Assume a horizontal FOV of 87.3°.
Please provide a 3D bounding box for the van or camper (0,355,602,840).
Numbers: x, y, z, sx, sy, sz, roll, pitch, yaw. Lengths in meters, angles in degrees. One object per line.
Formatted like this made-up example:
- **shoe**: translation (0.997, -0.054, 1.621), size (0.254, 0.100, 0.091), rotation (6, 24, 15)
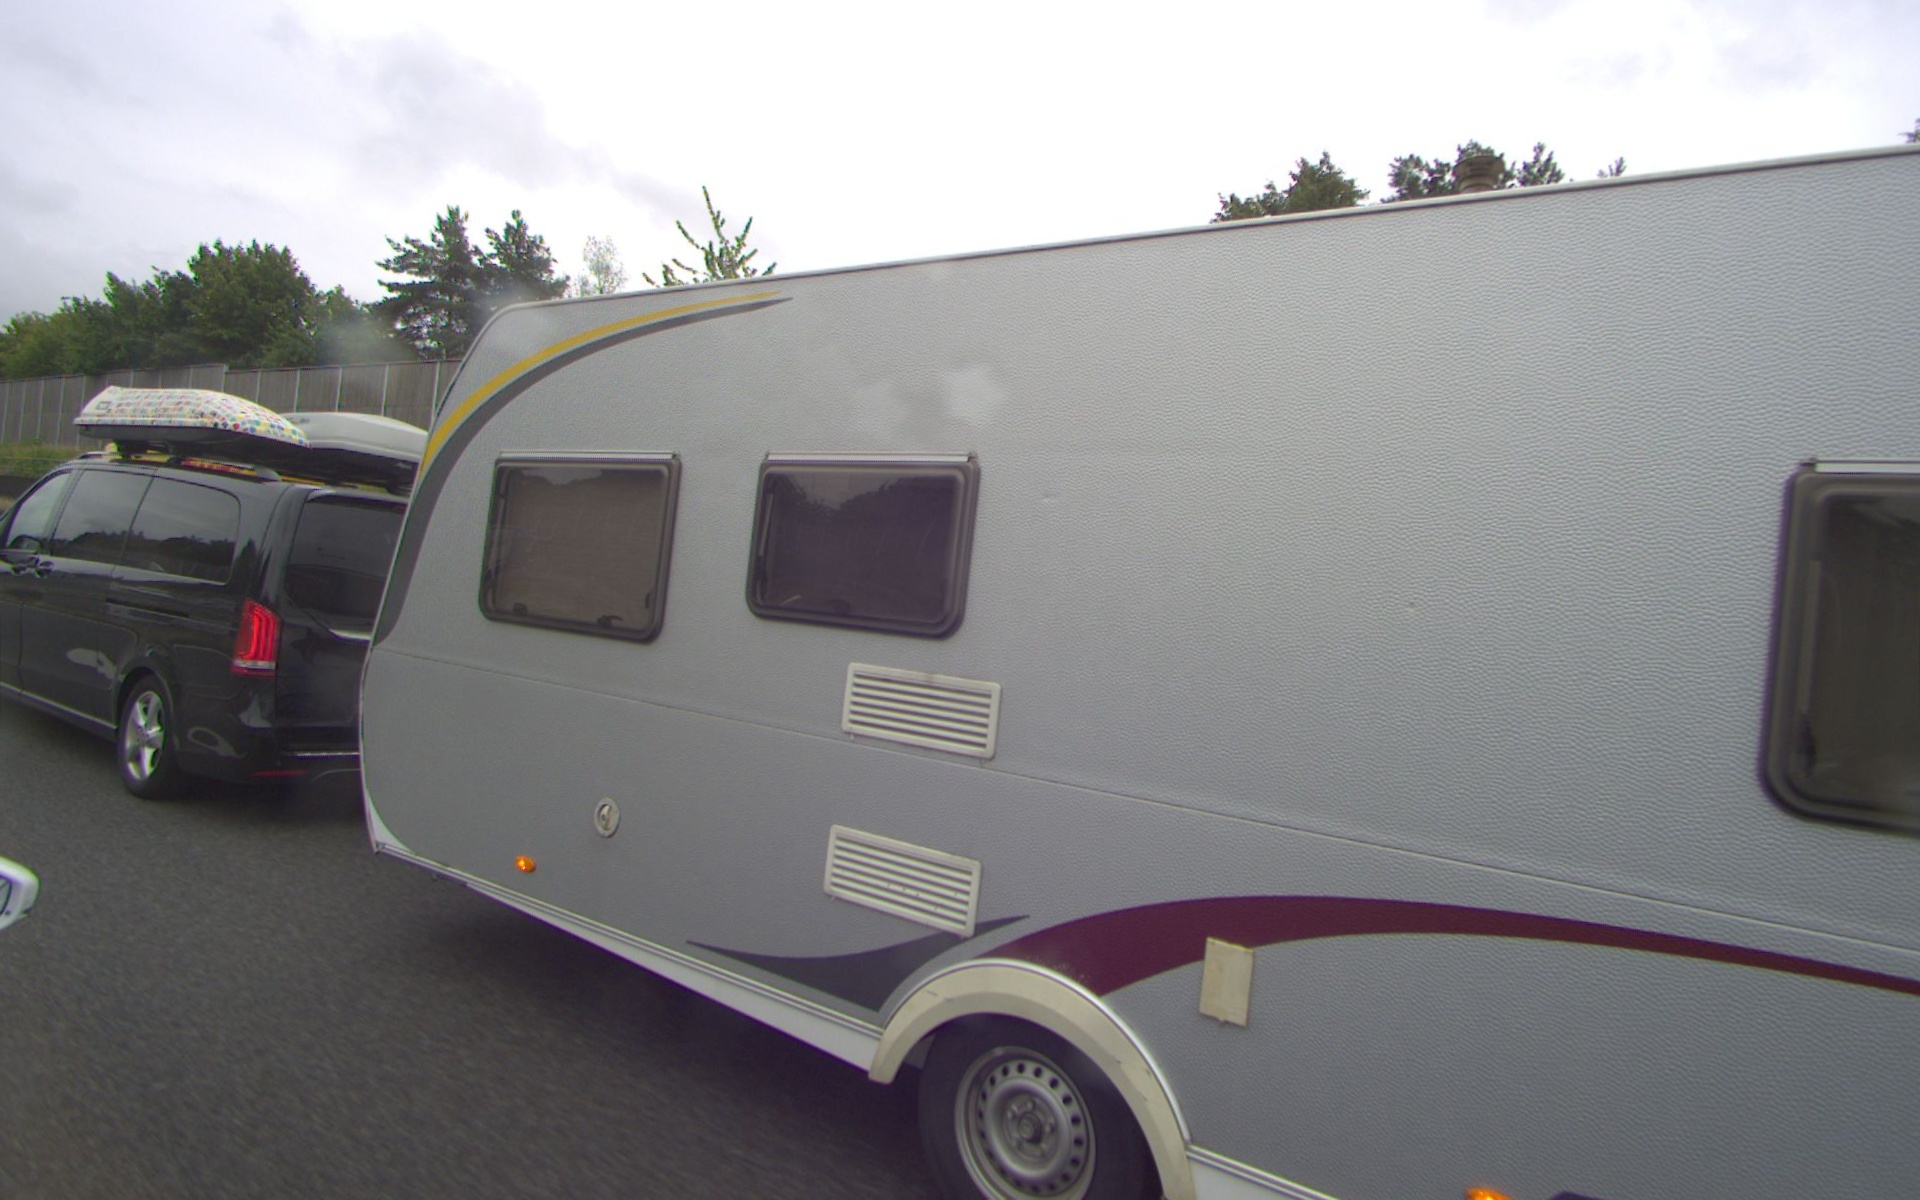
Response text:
- **van or camper**: translation (-5.247, -0.170, 7.008), size (5.585, 2.295, 1.894), rotation (6, -2, 32)

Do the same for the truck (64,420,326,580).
- **truck**: translation (-23.291, -3.126, 30.433), size (9.170, 4.004, 2.691), rotation (6, -2, 31)

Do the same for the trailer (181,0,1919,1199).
- **trailer**: translation (0.674, 0.309, 3.538), size (7.386, 2.673, 2.726), rotation (7, -1, 31)

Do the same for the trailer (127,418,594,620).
- **trailer**: translation (-16.378, -2.411, 26.305), size (16.407, 3.998, 2.657), rotation (6, -2, 31)
